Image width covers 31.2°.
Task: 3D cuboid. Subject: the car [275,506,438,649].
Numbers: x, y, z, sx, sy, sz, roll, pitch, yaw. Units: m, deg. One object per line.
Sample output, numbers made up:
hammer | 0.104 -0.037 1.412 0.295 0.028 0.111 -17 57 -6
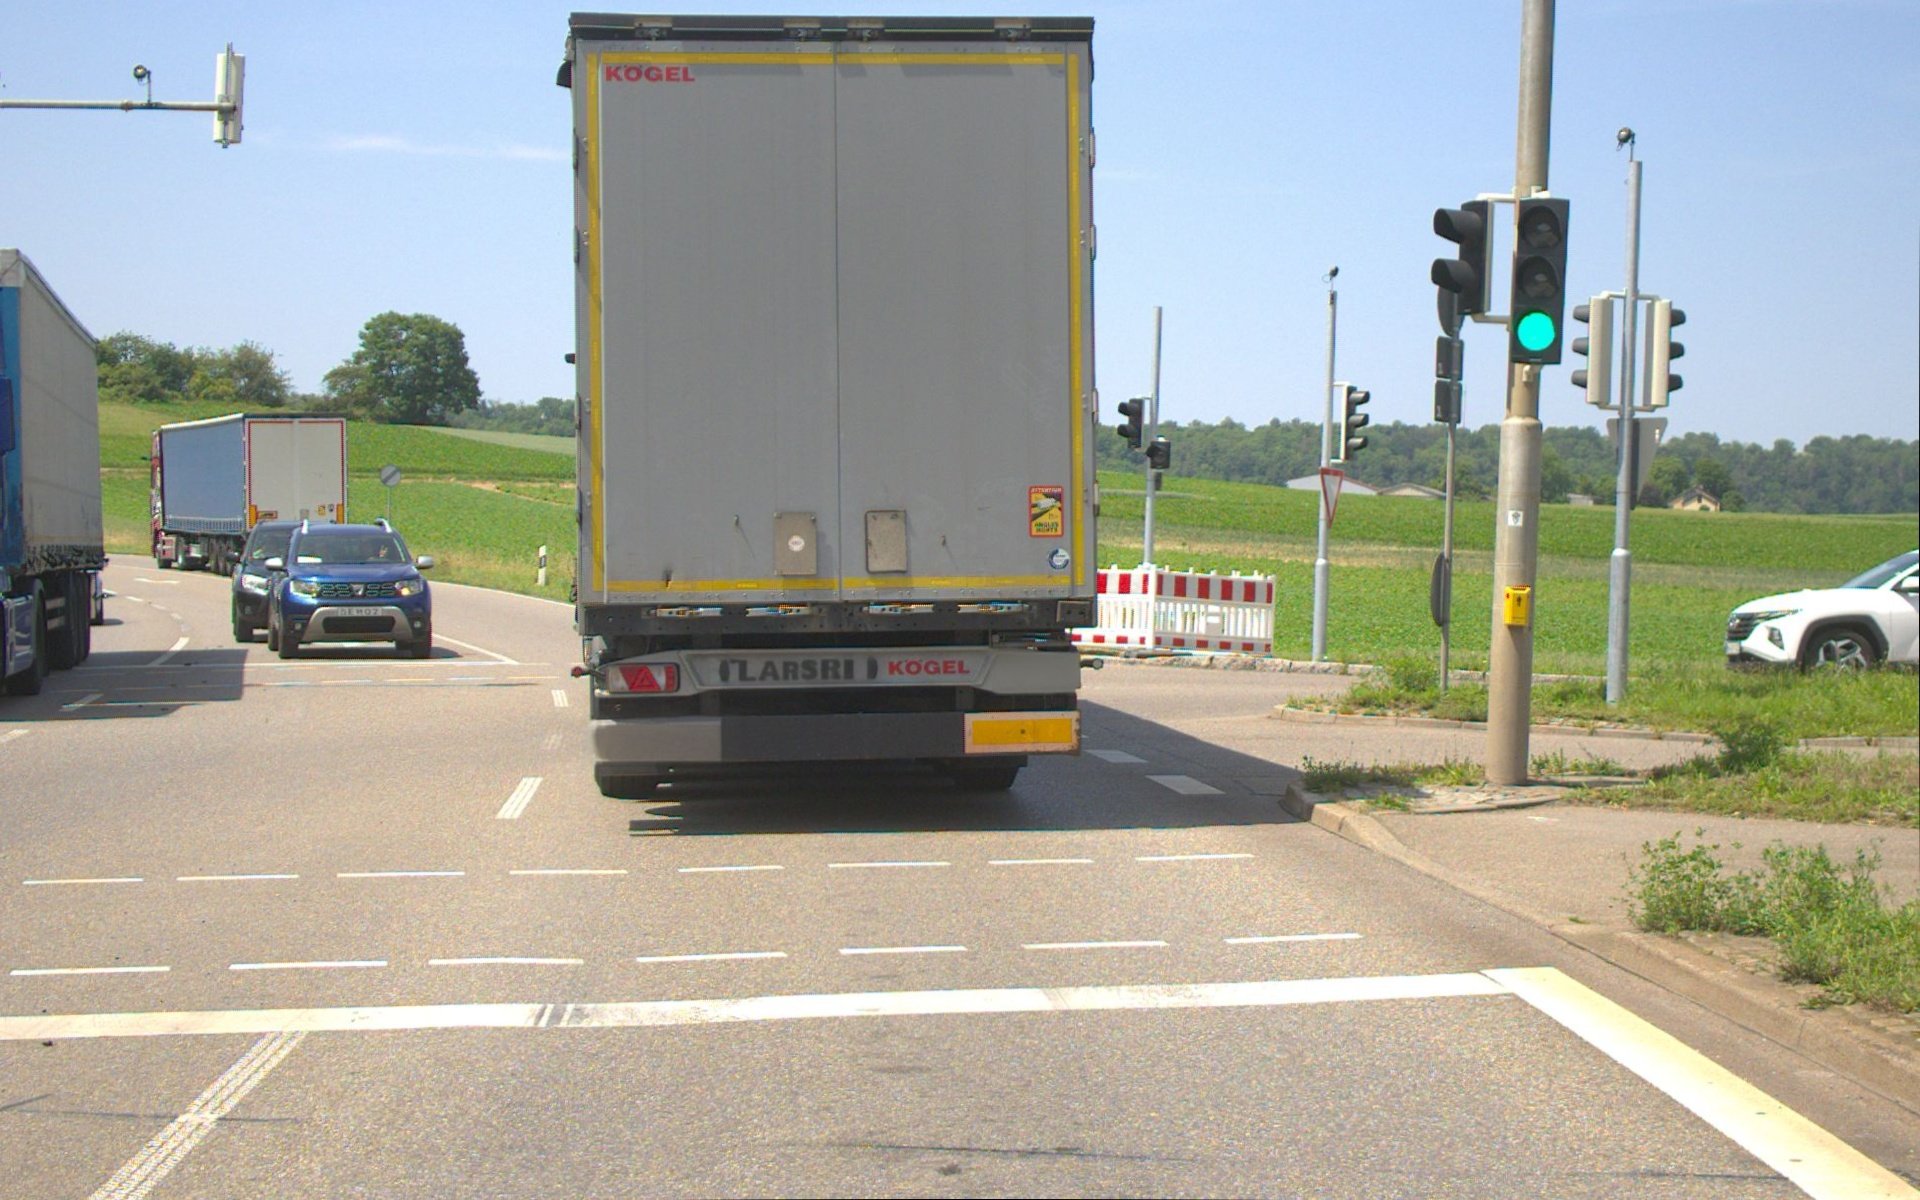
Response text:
car | -7.418 -0.301 42.042 1.770 1.653 4.001 0 1 -13

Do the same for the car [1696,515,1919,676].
car | 10.343 0.006 36.296 4.625 1.602 1.999 2 -1 -4

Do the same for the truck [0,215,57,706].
truck | -9.537 -1.207 30.230 2.566 4.016 6.562 0 2 -10

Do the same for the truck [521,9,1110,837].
truck | -1.090 -0.945 21.236 2.807 3.932 9.593 0 1 -5

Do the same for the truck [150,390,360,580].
truck | -18.918 -2.992 91.174 2.960 4.568 16.321 0 2 -20

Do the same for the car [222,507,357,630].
car | -9.370 -0.457 48.121 1.770 1.653 4.001 0 1 -11

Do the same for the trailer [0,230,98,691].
trailer | -10.738 -1.383 36.381 2.566 4.016 13.599 0 2 -12
